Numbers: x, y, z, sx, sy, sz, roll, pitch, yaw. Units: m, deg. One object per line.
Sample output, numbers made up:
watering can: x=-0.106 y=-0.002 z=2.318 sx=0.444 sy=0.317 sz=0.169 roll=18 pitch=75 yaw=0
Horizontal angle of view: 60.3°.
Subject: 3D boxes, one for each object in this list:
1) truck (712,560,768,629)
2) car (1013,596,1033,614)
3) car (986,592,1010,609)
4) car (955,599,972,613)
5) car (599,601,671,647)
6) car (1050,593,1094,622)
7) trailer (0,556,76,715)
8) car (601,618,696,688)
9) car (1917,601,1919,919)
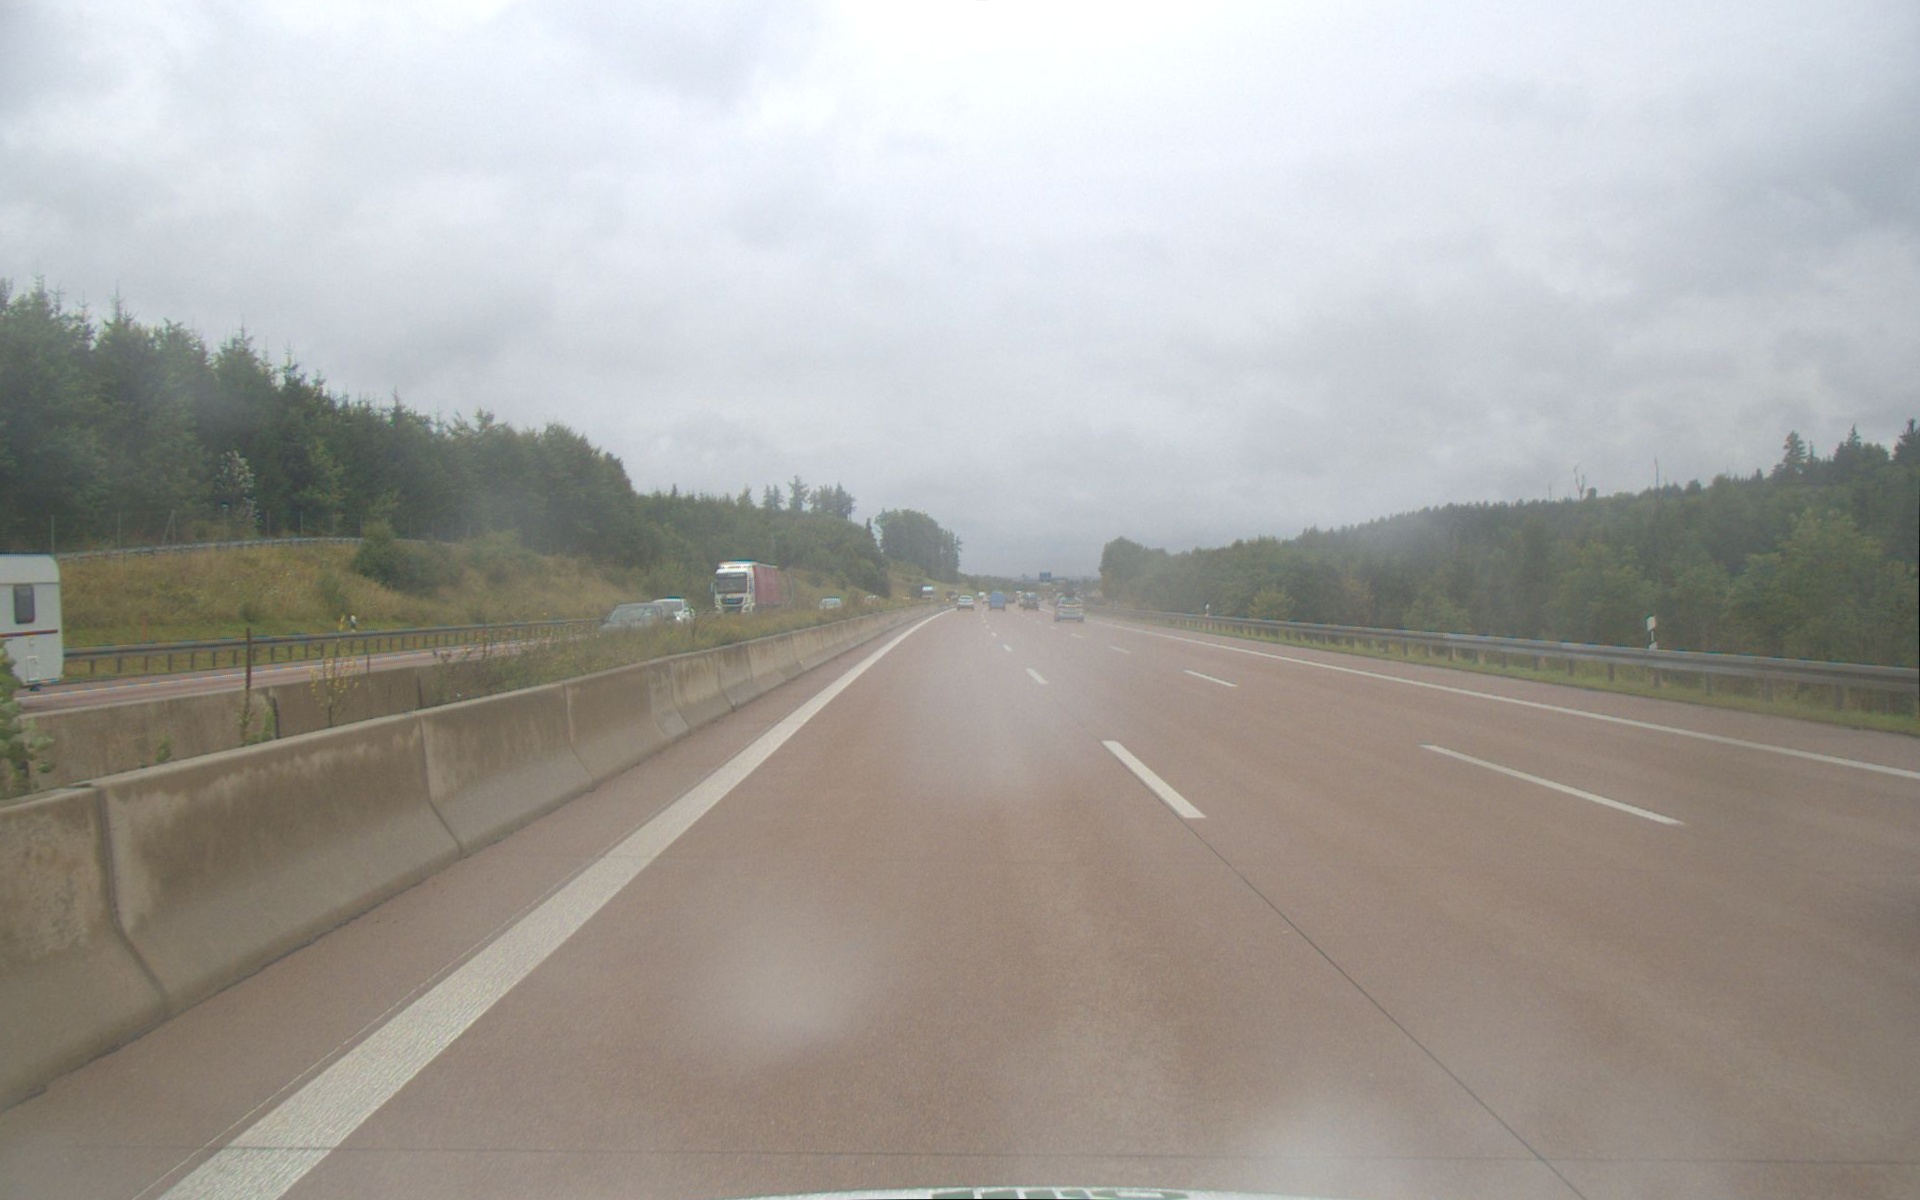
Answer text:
truck: x=-15.159 y=-0.334 z=114.241 sx=2.890 sy=4.556 sz=6.791 roll=1 pitch=-1 yaw=0
car: x=7.324 y=0.566 z=192.219 sx=1.954 sy=2.049 sz=3.997 roll=1 pitch=-1 yaw=-3
car: x=4.148 y=0.094 z=182.243 sx=2.276 sy=1.780 sz=4.874 roll=1 pitch=-1 yaw=-3
car: x=0.353 y=0.672 z=178.519 sx=1.836 sy=1.470 sz=4.876 roll=1 pitch=-1 yaw=-1
car: x=-12.769 y=0.953 z=65.217 sx=1.826 sy=1.695 sz=4.708 roll=1 pitch=-1 yaw=1
car: x=7.209 y=0.495 z=107.275 sx=2.276 sy=1.780 sz=4.874 roll=1 pitch=-1 yaw=-3
trailer: x=-15.894 y=0.597 z=24.878 sx=2.231 sy=2.453 sz=5.437 roll=-3 pitch=0 yaw=-1
car: x=-8.090 y=1.333 z=43.273 sx=1.636 sy=1.695 sz=4.476 roll=1 pitch=-1 yaw=-1
car: x=5.698 y=0.782 z=6.246 sx=1.735 sy=1.591 sz=4.145 roll=1 pitch=-1 yaw=-1
